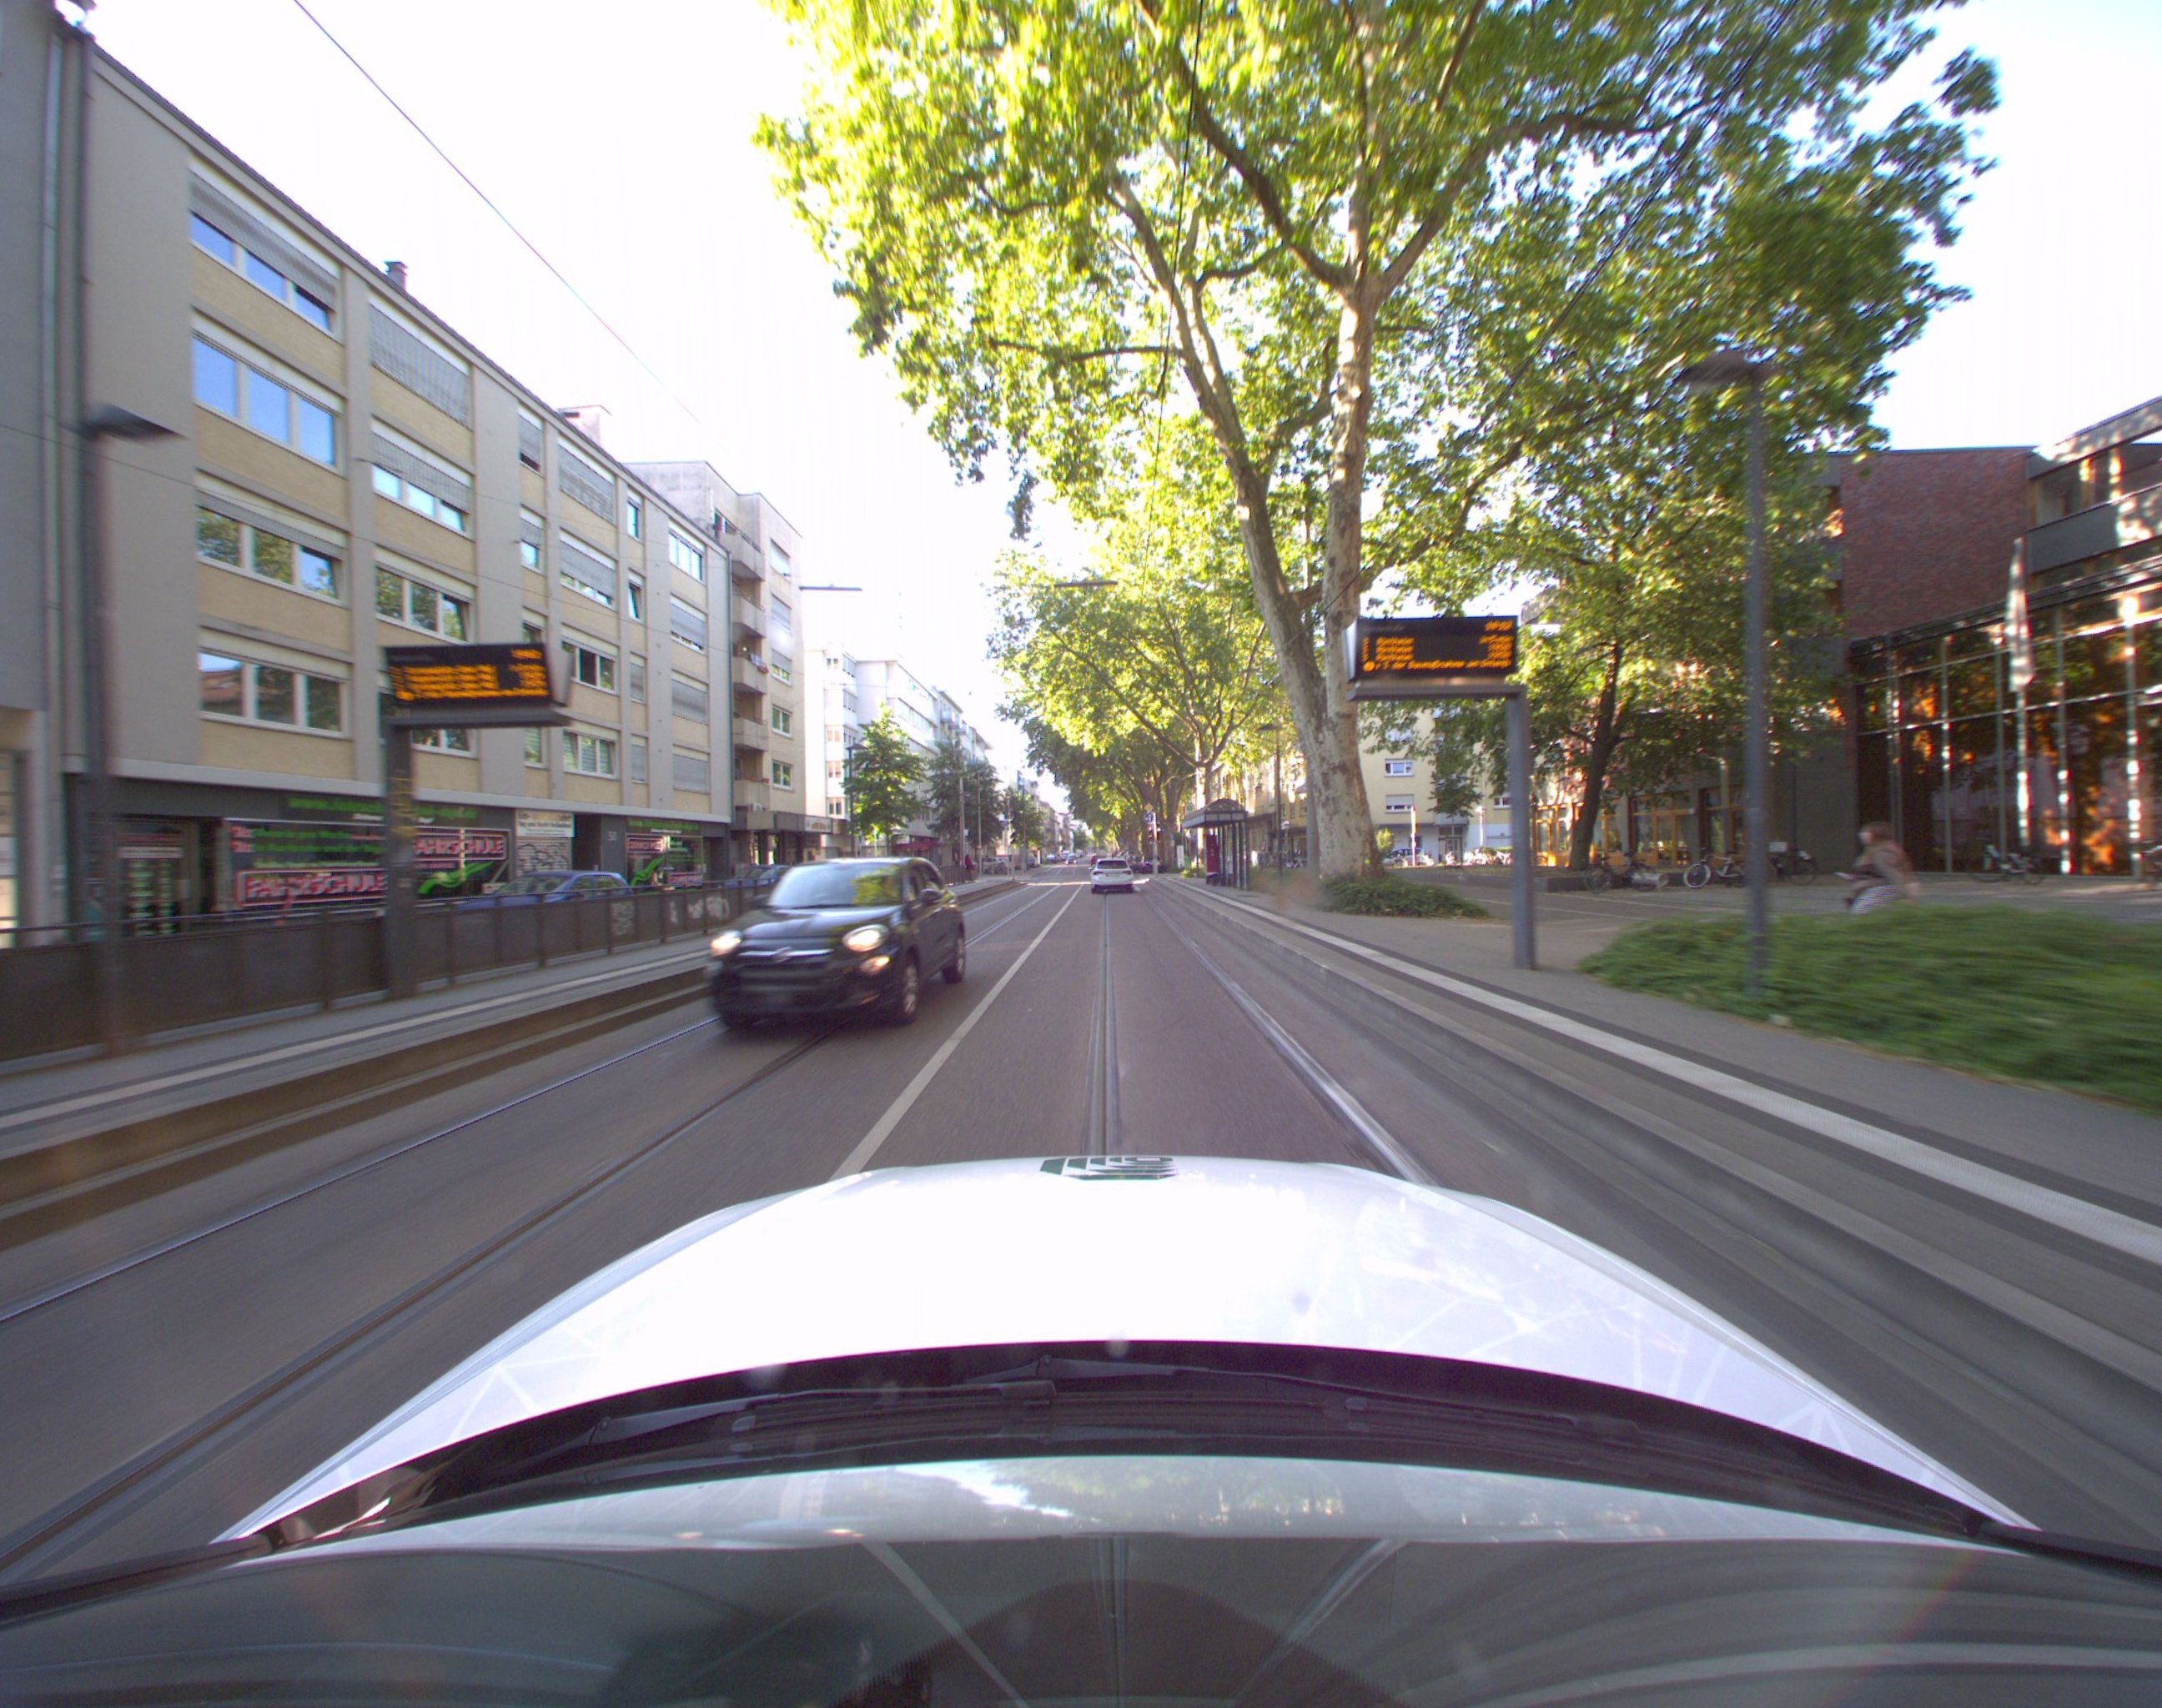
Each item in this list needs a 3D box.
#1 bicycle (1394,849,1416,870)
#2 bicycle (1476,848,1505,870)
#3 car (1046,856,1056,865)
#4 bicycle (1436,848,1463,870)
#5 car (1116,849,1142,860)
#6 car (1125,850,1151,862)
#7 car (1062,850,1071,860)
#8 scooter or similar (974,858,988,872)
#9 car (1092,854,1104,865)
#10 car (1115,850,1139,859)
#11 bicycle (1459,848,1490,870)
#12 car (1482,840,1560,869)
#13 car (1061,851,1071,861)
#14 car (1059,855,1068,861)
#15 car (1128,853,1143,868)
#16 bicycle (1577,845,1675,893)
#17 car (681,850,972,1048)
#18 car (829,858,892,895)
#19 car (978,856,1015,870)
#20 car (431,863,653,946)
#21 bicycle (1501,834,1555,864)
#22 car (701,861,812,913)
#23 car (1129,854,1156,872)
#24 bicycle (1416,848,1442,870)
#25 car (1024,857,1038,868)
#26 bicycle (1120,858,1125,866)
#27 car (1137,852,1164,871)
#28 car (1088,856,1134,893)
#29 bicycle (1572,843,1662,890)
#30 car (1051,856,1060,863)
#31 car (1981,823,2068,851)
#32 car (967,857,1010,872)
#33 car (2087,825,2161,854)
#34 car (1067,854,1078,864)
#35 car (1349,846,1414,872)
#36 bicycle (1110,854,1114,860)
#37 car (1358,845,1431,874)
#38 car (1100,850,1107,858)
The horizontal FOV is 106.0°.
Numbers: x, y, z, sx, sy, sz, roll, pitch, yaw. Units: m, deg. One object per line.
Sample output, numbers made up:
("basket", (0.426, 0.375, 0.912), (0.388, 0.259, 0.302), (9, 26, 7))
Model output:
("bicycle", (18.243, 0.294, 45.908), (0.597, 1.156, 1.700), (-3, 0, 5))
("bicycle", (22.797, 0.255, 45.341), (0.659, 1.156, 1.851), (-3, 0, 1))
("car", (-5.796, 1.272, 159.191), (1.697, 1.650, 4.241), (1, 0, 0))
("bicycle", (20.568, 0.269, 45.479), (0.633, 1.156, 1.984), (-3, 0, 4))
("car", (11.418, 0.101, 193.717), (6.111, 2.635, 2.528), (-1, 0, -1))
("car", (10.252, 0.312, 146.721), (4.530, 2.076, 2.000), (-1, 0, -1))
("car", (-4.080, 0.213, 234.266), (2.334, 2.861, 4.001), (-1, 0, 2))
("scooter or similar", (-8.732, 0.967, 71.139), (1.076, 1.176, 0.498), (0, -1, 0))
("car", (2.440, 0.797, 117.238), (1.755, 1.475, 4.000), (-2, 0, 1))
("car", (12.081, 0.054, 212.334), (6.111, 2.282, 2.528), (-1, 0, -1))
("bicycle", (21.849, 0.263, 45.225), (0.727, 1.156, 2.052), (-3, 0, 2))
("car", (27.421, 0.042, 50.803), (3.848, 1.693, 1.866), (-2, 0, 1))
("car", (-3.965, 0.538, 215.584), (2.170, 2.597, 4.950), (-1, 0, 2))
("car", (-4.352, 1.024, 203.858), (1.986, 1.530, 4.001), (-1, 0, 2))
("car", (6.188, 0.758, 91.985), (1.557, 1.519, 2.913), (-3, -1, 4))
("bicycle", (14.284, 0.388, 21.394), (2.018, 1.156, 0.574), (-3, 0, 11))
("car", (-2.378, 0.792, 8.762), (1.755, 1.588, 4.001), (-2, 0, 1))
("car", (-11.041, 1.081, 41.041), (1.871, 1.651, 4.358), (-2, 0, 1))
("car", (-9.674, 1.026, 93.279), (4.001, 1.475, 1.850), (0, -1, -2))
("car", (-11.381, 0.977, 17.623), (1.788, 1.464, 4.283), (-2, 0, 2))
("bicycle", (19.183, -0.219, 35.008), (1.913, 1.156, 0.575), (-3, -1, 17))
("car", (-11.229, 1.092, 28.561), (1.949, 1.544, 4.390), (-2, 0, 2))
("car", (5.277, 0.731, 70.371), (1.859, 1.437, 4.223), (-2, 0, -2))
("bicycle", (19.321, 0.278, 45.264), (0.598, 1.156, 1.696), (-3, 0, -3))
("car", (-6.802, 1.104, 109.709), (1.711, 1.464, 3.992), (2, 0, -5))
("bicycle", (5.591, 1.051, 109.314), (0.679, 1.071, 1.782), (-2, 0, 2))
("car", (5.543, 0.588, 65.260), (1.759, 1.462, 5.011), (-1, 0, 0))
("car", (1.208, 0.824, 34.020), (1.756, 1.384, 4.000), (-2, 0, 0))
("bicycle", (14.636, 0.351, 22.268), (2.023, 1.156, 0.572), (-3, 0, 1))
("car", (-5.467, 1.096, 174.893), (1.648, 1.437, 3.836), (-1, 0, 0))
("car", (65.384, -1.176, 56.455), (3.848, 1.806, 1.867), (-2, 2, 1))
("car", (-9.250, 1.061, 81.697), (3.997, 1.475, 1.852), (0, -1, 2))
("car", (65.231, -0.918, 50.280), (3.848, 1.693, 1.866), (-2, 0, 1))
("car", (-1.492, 0.856, 139.509), (1.865, 1.590, 4.146), (1, 0, 0))
("car", (20.874, 0.324, 56.613), (3.848, 1.552, 1.867), (-2, 2, 1))
("bicycle", (5.829, 0.556, 151.172), (0.647, 1.071, 1.583), (-2, 0, 0))
("car", (19.494, 0.339, 50.745), (3.848, 1.693, 1.866), (-2, 0, 1))
("car", (7.008, 0.048, 250.446), (2.194, 2.388, 4.001), (-1, 0, 2))
